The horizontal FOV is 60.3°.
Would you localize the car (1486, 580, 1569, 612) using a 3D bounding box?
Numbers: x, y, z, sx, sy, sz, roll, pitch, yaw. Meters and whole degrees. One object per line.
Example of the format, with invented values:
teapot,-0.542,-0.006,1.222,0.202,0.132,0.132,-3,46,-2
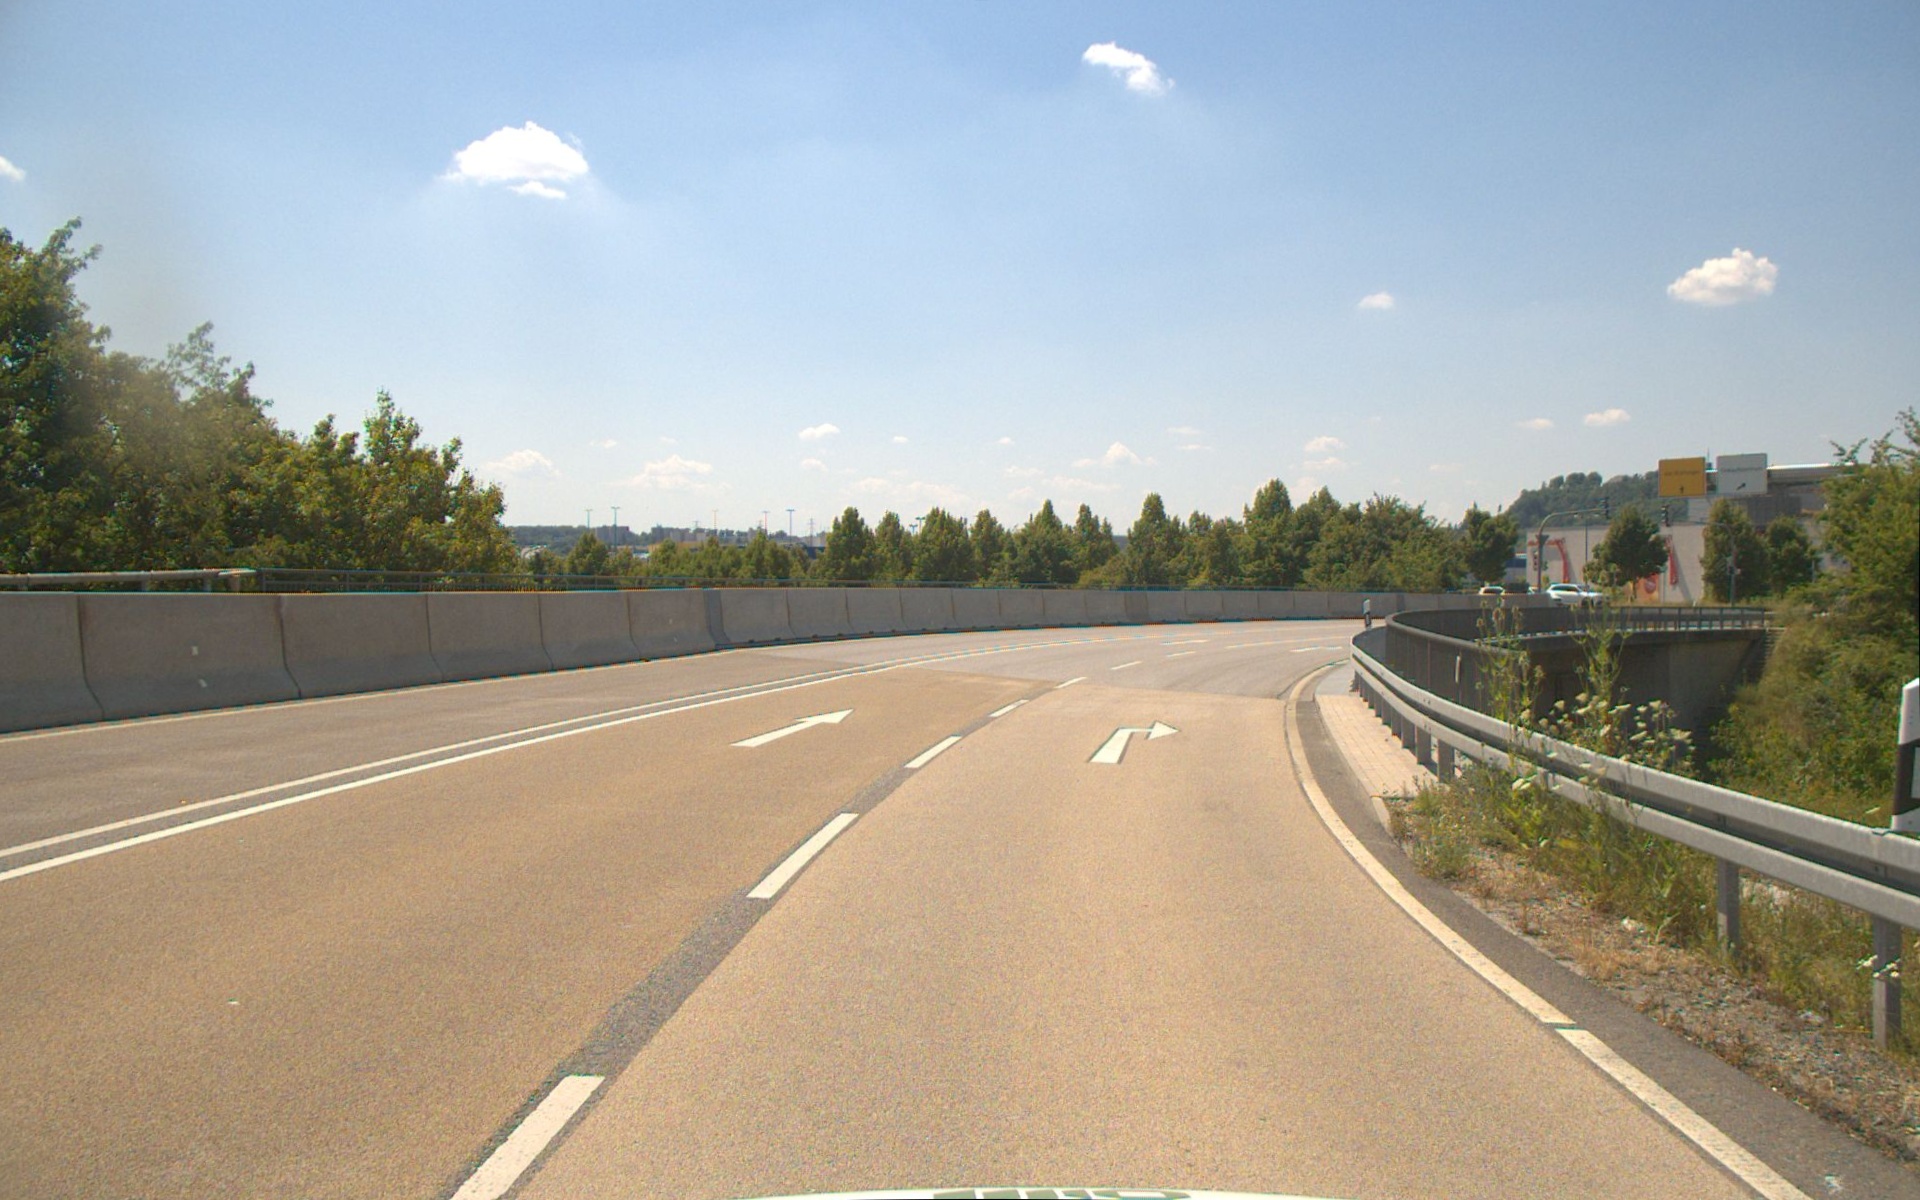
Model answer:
car,37.783,-0.281,110.265,2.086,1.999,4.785,2,1,-44
